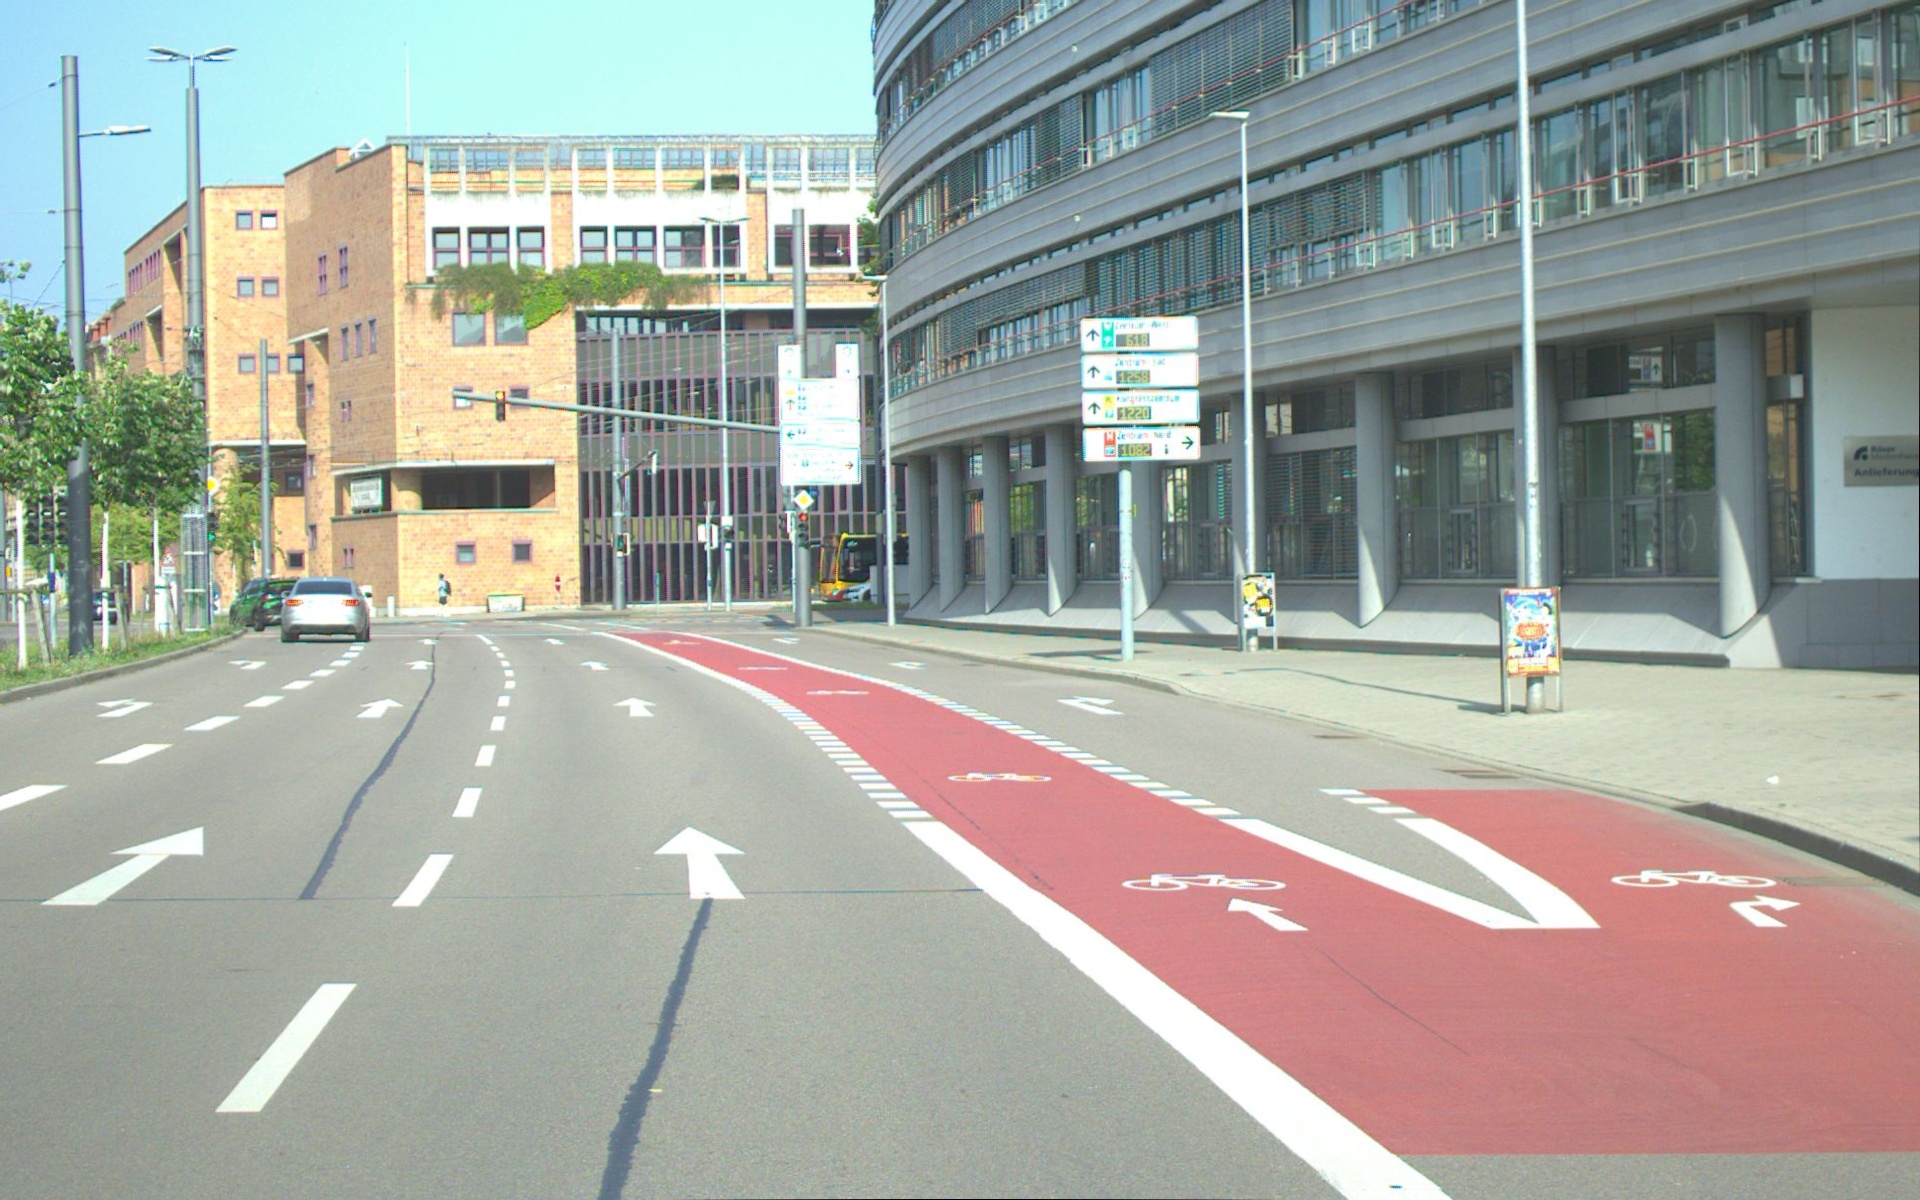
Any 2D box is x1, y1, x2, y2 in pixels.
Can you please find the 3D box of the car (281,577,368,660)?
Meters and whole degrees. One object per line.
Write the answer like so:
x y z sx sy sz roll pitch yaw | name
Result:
-14.091 0.426 76.326 1.704 1.749 3.891 -1 -1 -8 | car

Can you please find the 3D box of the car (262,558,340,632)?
-18.998 -0.122 99.269 1.993 2.007 4.243 -1 -1 -8 | car

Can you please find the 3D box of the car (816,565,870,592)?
-4.465 -0.801 131.040 1.951 0.955 1.094 1 -2 -10 | car

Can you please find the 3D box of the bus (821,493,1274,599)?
3.455 -2.145 136.025 17.605 3.798 2.865 -1 -1 -9 | bus

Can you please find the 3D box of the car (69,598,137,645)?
-38.527 0.989 154.476 1.993 2.007 4.000 -1 -1 -28 | car
